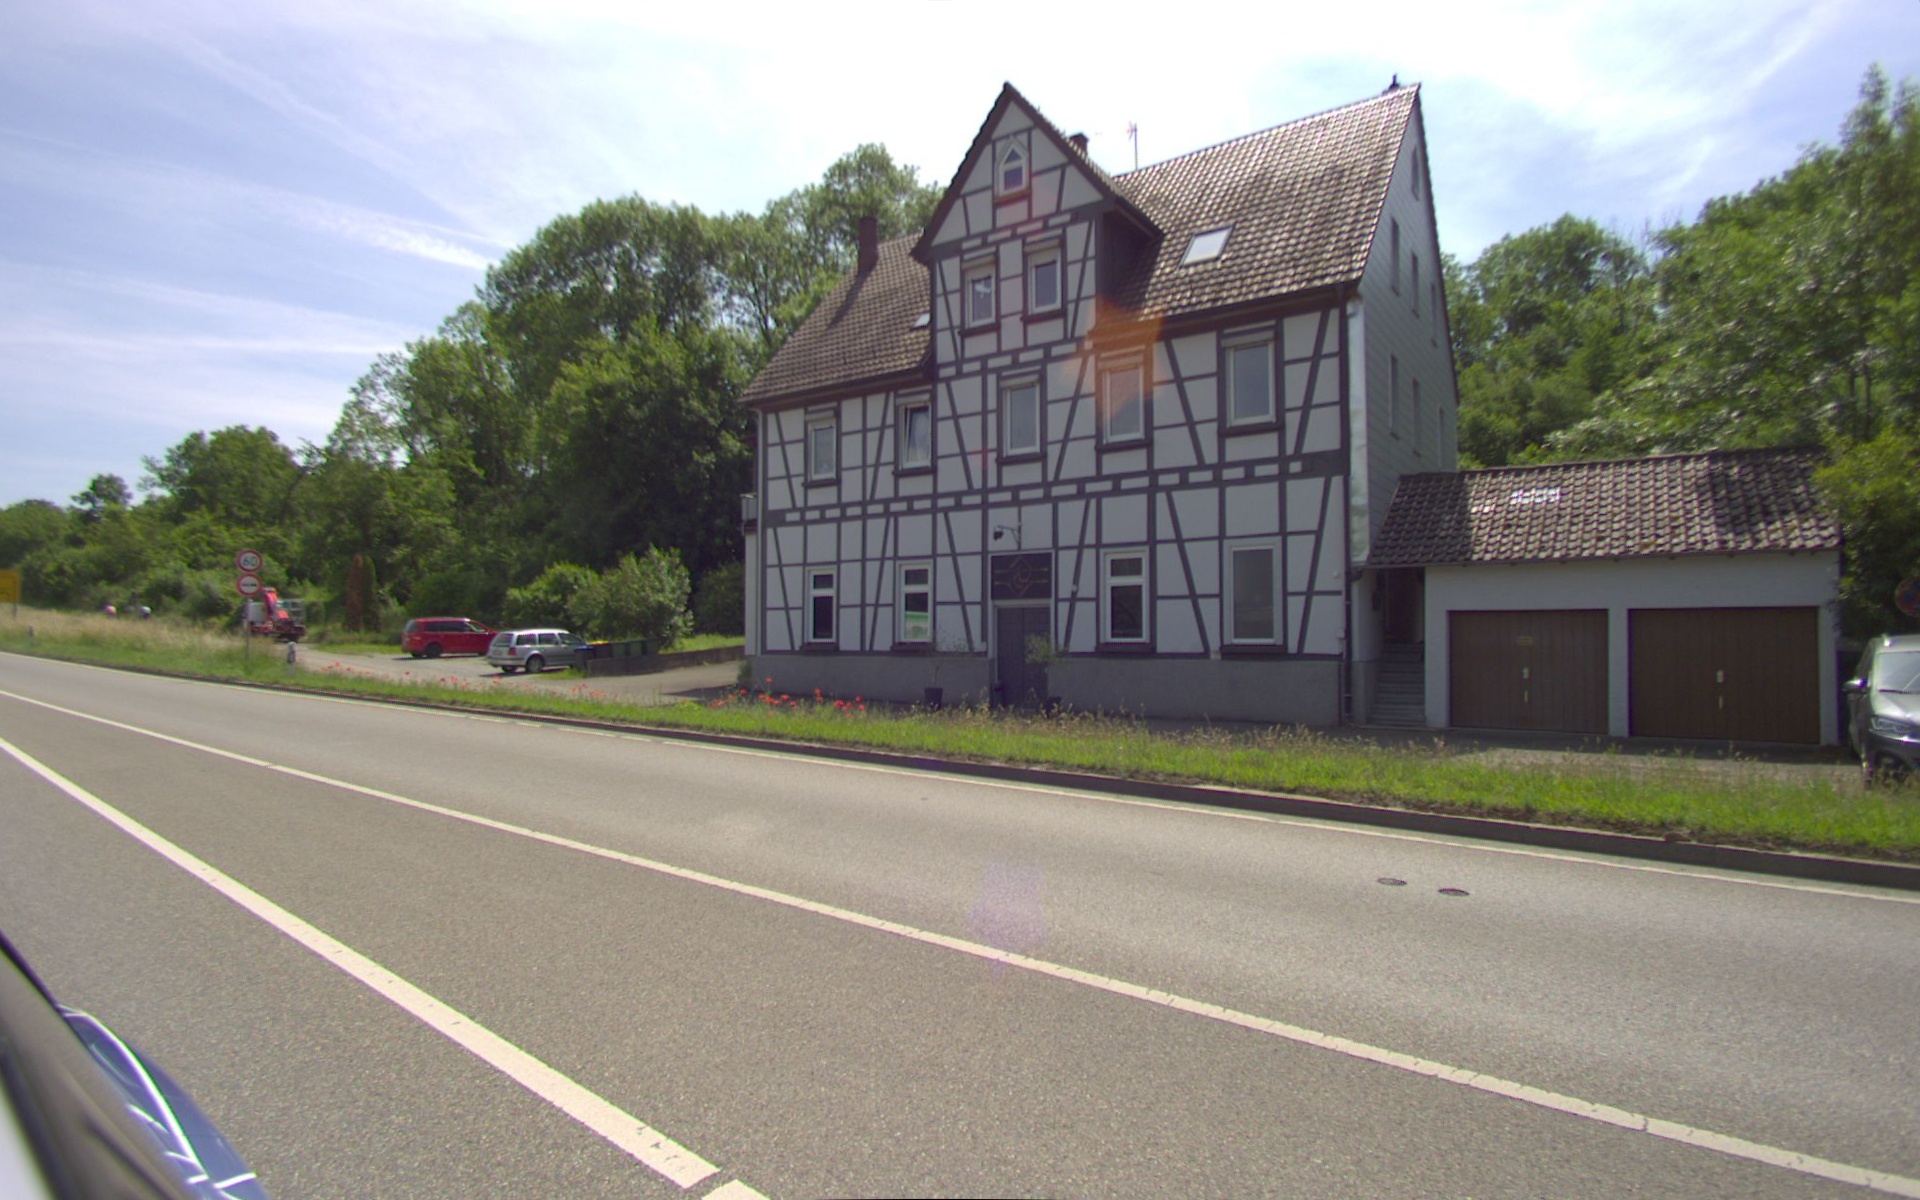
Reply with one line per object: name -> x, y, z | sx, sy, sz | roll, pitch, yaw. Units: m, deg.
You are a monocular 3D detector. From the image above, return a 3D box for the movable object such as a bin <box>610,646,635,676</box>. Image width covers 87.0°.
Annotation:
movable object such as a bin -> -11.615, 2.079, 34.805 | 0.653, 0.984, 0.499 | 0, 0, 33

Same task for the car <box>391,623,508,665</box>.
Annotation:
car -> -21.387, 1.802, 42.490 | 1.832, 1.631, 3.985 | -1, -1, 41

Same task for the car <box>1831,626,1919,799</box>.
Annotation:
car -> 11.994, 1.214, 12.156 | 1.858, 1.733, 4.621 | -4, -3, 36

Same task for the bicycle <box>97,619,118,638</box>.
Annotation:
bicycle -> -57.024, 1.886, 67.700 | 2.104, 1.221, 0.741 | -1, 0, 41

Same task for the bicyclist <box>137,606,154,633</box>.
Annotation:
bicyclist -> -53.395, 1.261, 66.310 | 0.936, 1.727, 0.740 | -1, 0, 43

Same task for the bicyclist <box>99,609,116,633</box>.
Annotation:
bicyclist -> -57.025, 1.402, 67.707 | 0.935, 1.607, 0.740 | -1, 0, 41

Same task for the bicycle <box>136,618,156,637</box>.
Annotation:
bicycle -> -53.293, 1.805, 66.216 | 2.105, 1.189, 0.740 | -1, 0, 43

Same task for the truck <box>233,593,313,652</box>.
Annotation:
truck -> -37.387, 1.172, 54.951 | 6.771, 2.986, 2.005 | -1, 0, 42

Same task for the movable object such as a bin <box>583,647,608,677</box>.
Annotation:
movable object such as a bin -> -12.185, 2.070, 33.868 | 0.653, 0.977, 0.499 | 0, 0, 33

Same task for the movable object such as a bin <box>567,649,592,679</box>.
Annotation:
movable object such as a bin -> -12.562, 2.101, 33.426 | 0.653, 0.943, 0.499 | 0, 0, 33

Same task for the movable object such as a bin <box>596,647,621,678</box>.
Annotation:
movable object such as a bin -> -11.926, 2.112, 34.331 | 0.653, 0.978, 0.499 | 0, 0, 33

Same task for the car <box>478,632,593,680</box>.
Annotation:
car -> -14.650, 1.890, 35.050 | 1.606, 1.476, 3.348 | -1, -1, 34
